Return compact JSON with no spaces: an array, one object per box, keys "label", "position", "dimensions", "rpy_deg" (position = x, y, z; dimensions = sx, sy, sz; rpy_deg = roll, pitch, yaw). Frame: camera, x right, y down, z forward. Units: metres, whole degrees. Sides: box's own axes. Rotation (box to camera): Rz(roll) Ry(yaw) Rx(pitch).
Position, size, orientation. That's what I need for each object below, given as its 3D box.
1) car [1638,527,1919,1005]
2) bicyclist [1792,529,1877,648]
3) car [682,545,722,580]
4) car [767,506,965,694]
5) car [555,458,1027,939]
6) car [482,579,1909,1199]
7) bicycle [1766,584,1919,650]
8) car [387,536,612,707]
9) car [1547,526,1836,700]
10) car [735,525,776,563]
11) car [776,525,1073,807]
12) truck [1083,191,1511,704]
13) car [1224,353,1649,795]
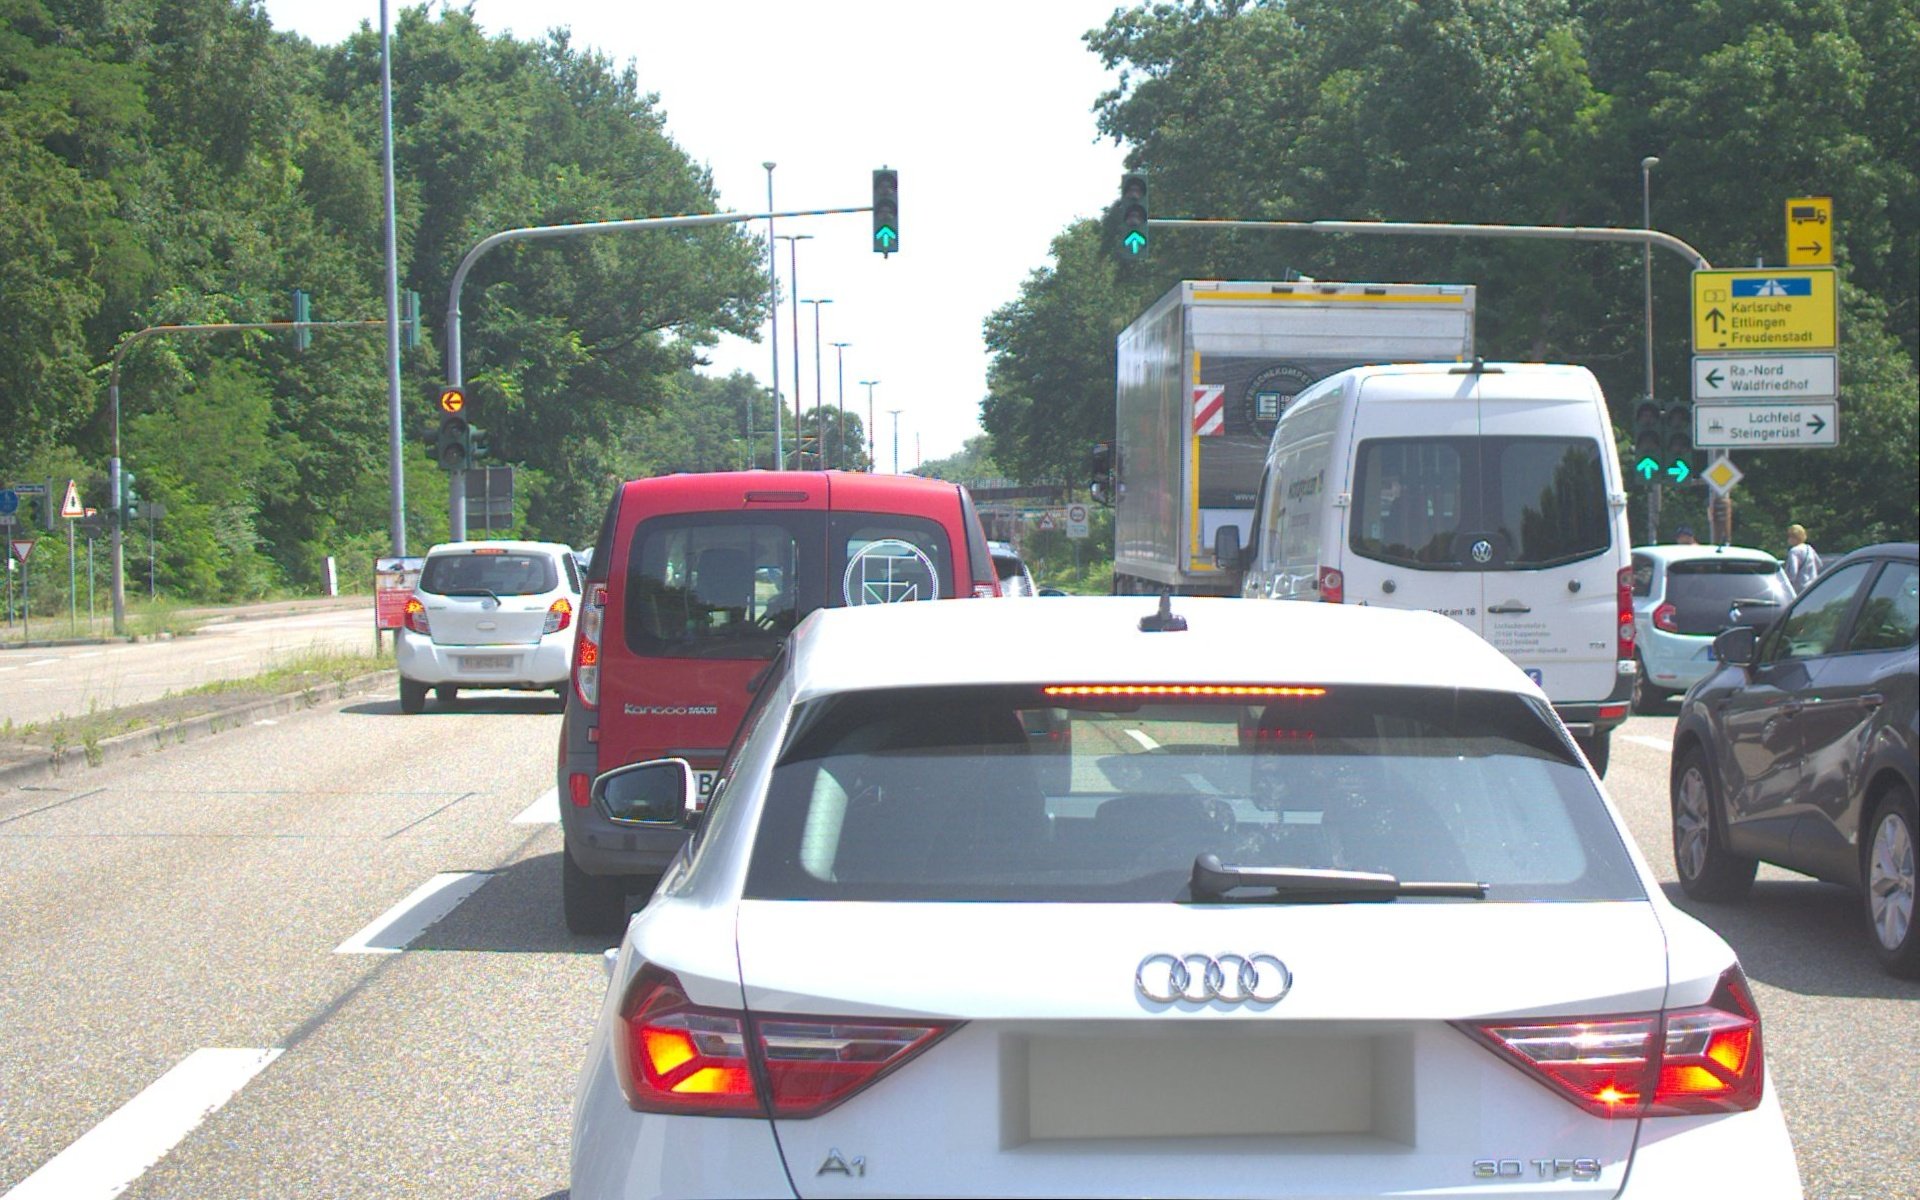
[{"label":"car","position":[3.967,0.518,13.333],"dimensions":[1.711,1.587,4.092],"rpy_deg":[0,1,-2]},{"label":"bicyclist","position":[10.778,-0.146,42.388],"dimensions":[0.826,1.434,0.599],"rpy_deg":[-1,1,-7]},{"label":"car","position":[-13.190,-1.909,175.920],"dimensions":[1.830,1.722,4.000],"rpy_deg":[-1,1,-1]},{"label":"car","position":[-0.897,-0.035,31.706],"dimensions":[1.711,1.626,4.092],"rpy_deg":[0,1,-2]},{"label":"car","position":[-0.695,0.321,14.537],"dimensions":[1.711,1.742,4.092],"rpy_deg":[0,1,-2]},{"label":"car","position":[0.203,0.679,6.160],"dimensions":[1.711,1.381,4.092],"rpy_deg":[0,1,-2]},{"label":"bicycle","position":[10.931,0.204,42.413],"dimensions":[1.821,0.763,0.601],"rpy_deg":[-1,1,-8]},{"label":"car","position":[-4.227,0.152,32.067],"dimensions":[1.711,1.487,4.092],"rpy_deg":[0,1,-2]},{"label":"car","position":[6.858,0.079,32.615],"dimensions":[1.711,1.541,4.092],"rpy_deg":[0,1,-2]},{"label":"car","position":[-10.201,-2.792,171.584],"dimensions":[1.872,1.854,4.000],"rpy_deg":[-1,1,-2]},{"label":"car","position":[-0.289,0.346,21.895],"dimensions":[1.711,1.626,4.092],"rpy_deg":[0,1,-2]},{"label":"truck","position":[3.129,-1.426,35.613],"dimensions":[3.088,4.418,11.581],"rpy_deg":[0,1,-1]},{"label":"car","position":[3.029,-0.198,22.953],"dimensions":[2.031,2.635,4.846],"rpy_deg":[0,1,-2]}]
